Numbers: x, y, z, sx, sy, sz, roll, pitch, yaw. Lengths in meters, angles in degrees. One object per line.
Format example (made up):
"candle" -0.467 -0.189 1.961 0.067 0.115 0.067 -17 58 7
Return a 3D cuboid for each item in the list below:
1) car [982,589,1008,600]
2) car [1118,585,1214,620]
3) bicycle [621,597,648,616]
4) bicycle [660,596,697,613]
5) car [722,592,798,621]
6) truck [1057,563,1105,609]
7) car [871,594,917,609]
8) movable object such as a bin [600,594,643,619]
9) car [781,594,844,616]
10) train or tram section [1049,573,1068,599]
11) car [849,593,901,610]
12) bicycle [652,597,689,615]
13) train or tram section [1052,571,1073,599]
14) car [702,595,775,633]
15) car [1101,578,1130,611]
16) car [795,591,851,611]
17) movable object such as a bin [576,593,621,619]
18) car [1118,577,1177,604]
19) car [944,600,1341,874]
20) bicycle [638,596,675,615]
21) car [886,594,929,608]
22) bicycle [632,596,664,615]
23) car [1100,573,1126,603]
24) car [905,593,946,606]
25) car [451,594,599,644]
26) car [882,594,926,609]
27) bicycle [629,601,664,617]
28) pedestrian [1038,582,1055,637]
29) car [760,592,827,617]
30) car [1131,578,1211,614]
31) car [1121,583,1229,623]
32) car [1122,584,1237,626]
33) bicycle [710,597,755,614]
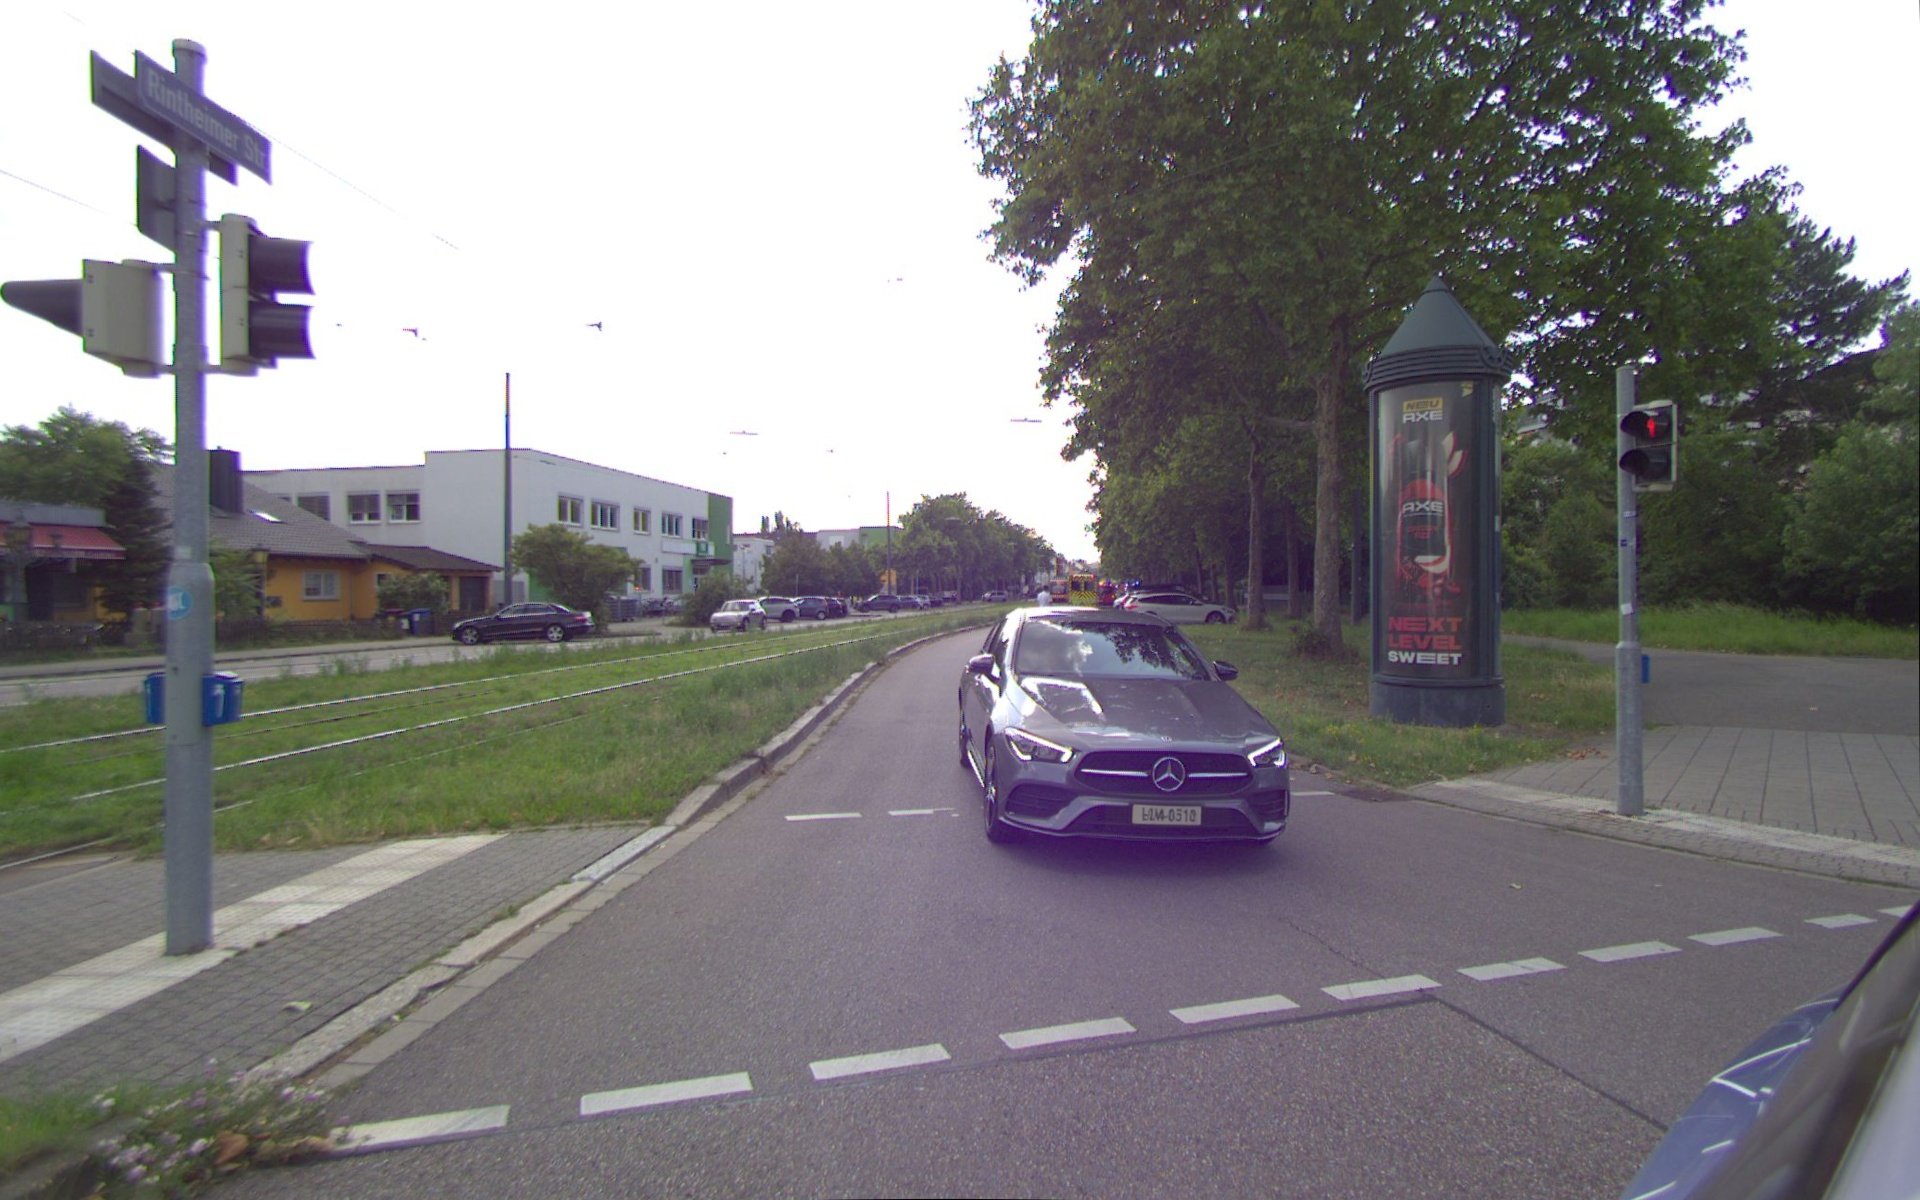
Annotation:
"car" 6.084 -0.913 175.892 3.916 1.861 1.825 1 0 -22
"car" 10.023 0.134 49.514 4.467 1.665 1.995 -1 -1 8
"bicycle" -20.491 0.391 63.652 1.605 1.180 0.699 0 0 27
"bicycle" -18.898 0.326 67.912 2.357 1.129 0.792 0 0 17
"car" -12.289 0.383 62.181 4.225 1.650 1.905 -1 0 -23
"truck" 9.323 -1.047 77.401 3.143 3.359 7.500 -1 0 10
"car" -6.401 0.132 98.579 4.225 1.381 1.906 -1 0 -12
"movable object such as a bin" -18.932 0.332 56.635 1.356 1.343 2.123 -1 0 13
"car" -10.367 0.314 71.125 4.082 1.523 1.864 0 0 -18
"train or tram section" 14.454 -2.025 148.486 2.451 3.641 7.414 -1 1 4
"car" -7.413 0.145 88.338 4.225 1.381 1.906 -1 0 -14
"bicycle" -19.189 0.384 67.048 2.385 1.180 0.744 0 0 18
"train or tram section" 13.464 -1.988 133.751 2.451 3.641 7.415 -1 1 4
"car" -9.952 0.588 45.859 1.870 1.650 4.305 0 0 8
"car" 16.757 -0.584 109.563 2.925 3.359 7.442 1 0 8
"car" -10.450 0.091 77.302 4.083 1.523 1.864 0 0 -12
"movable object such as a bin" -19.351 0.332 54.286 1.356 1.343 2.109 -1 0 13
"car" 24.877 -1.302 134.700 7.327 3.372 2.971 1 0 5
"car" 0.943 0.735 7.658 1.804 1.411 4.610 1 0 -5
"bicycle" -19.800 0.368 66.004 2.318 1.180 0.757 -1 0 16
"car" -5.438 0.131 104.394 4.225 1.381 1.906 -1 0 -12
"bicycle" -19.230 0.332 62.435 1.767 1.095 0.735 -1 0 8
"car" 18.376 -1.416 122.098 2.925 3.372 7.442 1 0 8
"car" -3.862 -0.014 112.766 4.225 1.381 1.906 -1 0 -12
"car" -15.473 0.656 36.239 4.485 1.600 2.003 -2 1 -10
"car" -5.637 0.136 101.806 4.225 1.381 1.906 -1 0 -12
"bicycle" -20.172 0.563 65.149 2.127 0.982 0.728 0 0 14
"pedestrian" 2.719 0.298 31.772 0.486 1.705 0.586 0 -1 8
"car" -11.245 0.285 68.143 4.224 1.650 1.906 0 0 -18
"car" 12.268 -0.230 59.005 4.484 2.039 1.994 -1 0 11
"car" 9.347 0.158 44.385 4.467 1.665 1.995 -1 -1 8
"car" 8.986 0.223 41.831 4.467 1.665 1.995 -1 -1 8
"bicycle" -16.715 0.403 74.392 3.089 1.180 1.140 -1 0 6
